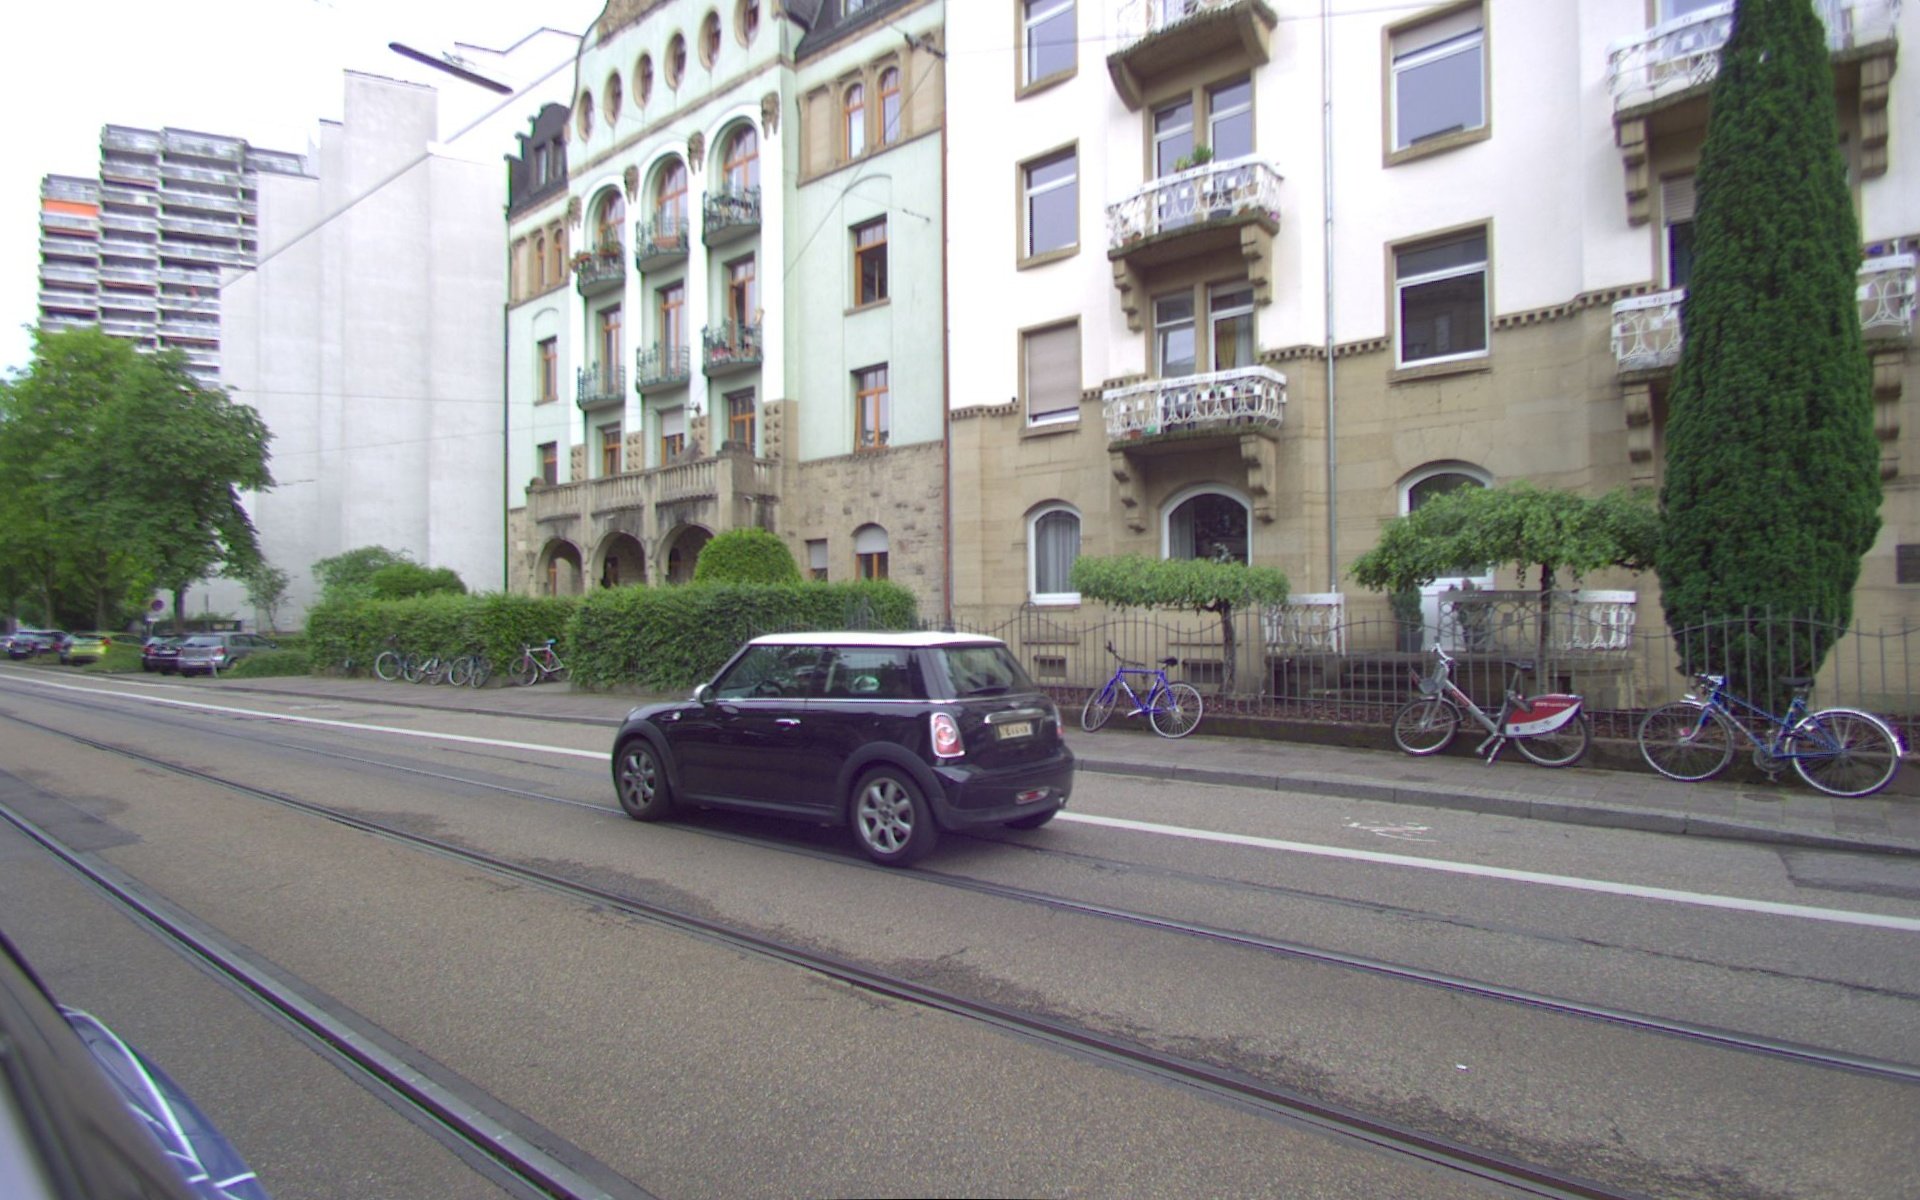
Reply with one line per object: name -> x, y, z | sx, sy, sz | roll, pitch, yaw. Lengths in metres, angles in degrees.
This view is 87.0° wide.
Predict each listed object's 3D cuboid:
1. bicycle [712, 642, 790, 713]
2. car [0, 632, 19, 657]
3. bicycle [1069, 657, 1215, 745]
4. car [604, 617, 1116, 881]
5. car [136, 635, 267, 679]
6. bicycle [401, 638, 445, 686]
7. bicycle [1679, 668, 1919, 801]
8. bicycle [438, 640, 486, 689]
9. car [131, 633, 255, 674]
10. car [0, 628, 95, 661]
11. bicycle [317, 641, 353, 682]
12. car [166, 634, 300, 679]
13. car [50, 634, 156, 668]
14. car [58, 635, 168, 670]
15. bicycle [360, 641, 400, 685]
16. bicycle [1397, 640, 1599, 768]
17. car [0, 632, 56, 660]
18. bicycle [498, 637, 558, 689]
bicycle -> -3.422, 1.244, 16.517 | 1.545, 1.092, 0.356 | -2, -2, 39
car -> -64.854, 2.971, 66.961 | 1.670, 1.632, 4.004 | 0, -2, -4
bicycle -> 2.144, 1.179, 12.060 | 1.660, 0.935, 0.354 | -3, -21, 42
car -> -0.809, 0.875, 7.222 | 3.480, 1.433, 1.594 | -2, -3, 37
car -> -26.670, 1.970, 35.773 | 1.671, 1.414, 4.000 | 0, -2, -1
bicycle -> -12.877, 1.470, 24.254 | 1.545, 1.092, 0.356 | -2, -2, 39
bicycle -> 6.728, 1.044, 8.128 | 1.513, 0.945, 0.329 | -2, -2, 39
bicycle -> -11.340, 1.451, 23.030 | 1.545, 1.092, 0.356 | -2, -2, 39
car -> -28.809, 1.966, 38.162 | 1.671, 1.414, 4.000 | 0, -2, -1
car -> -46.989, 2.271, 52.134 | 1.670, 1.632, 4.004 | 0, -2, -4
bicycle -> -17.195, 1.668, 27.823 | 1.545, 1.092, 0.356 | -2, -2, 39
car -> -24.370, 1.857, 34.119 | 1.671, 1.414, 4.000 | 0, -2, -1
car -> -39.152, 2.287, 46.373 | 1.670, 1.453, 4.004 | 0, -2, -4
car -> -36.940, 2.263, 44.261 | 1.670, 1.405, 4.004 | 0, -2, -4
bicycle -> -14.881, 1.590, 25.959 | 1.545, 1.092, 0.356 | -2, -2, 39
bicycle -> 4.981, 0.935, 9.452 | 1.617, 1.110, 0.382 | -1, -2, 28
car -> -57.027, 2.764, 61.024 | 1.670, 1.632, 4.004 | 0, -2, -4
bicycle -> -9.758, 1.410, 22.880 | 0.300, 1.091, 1.190 | -2, 0, 41
